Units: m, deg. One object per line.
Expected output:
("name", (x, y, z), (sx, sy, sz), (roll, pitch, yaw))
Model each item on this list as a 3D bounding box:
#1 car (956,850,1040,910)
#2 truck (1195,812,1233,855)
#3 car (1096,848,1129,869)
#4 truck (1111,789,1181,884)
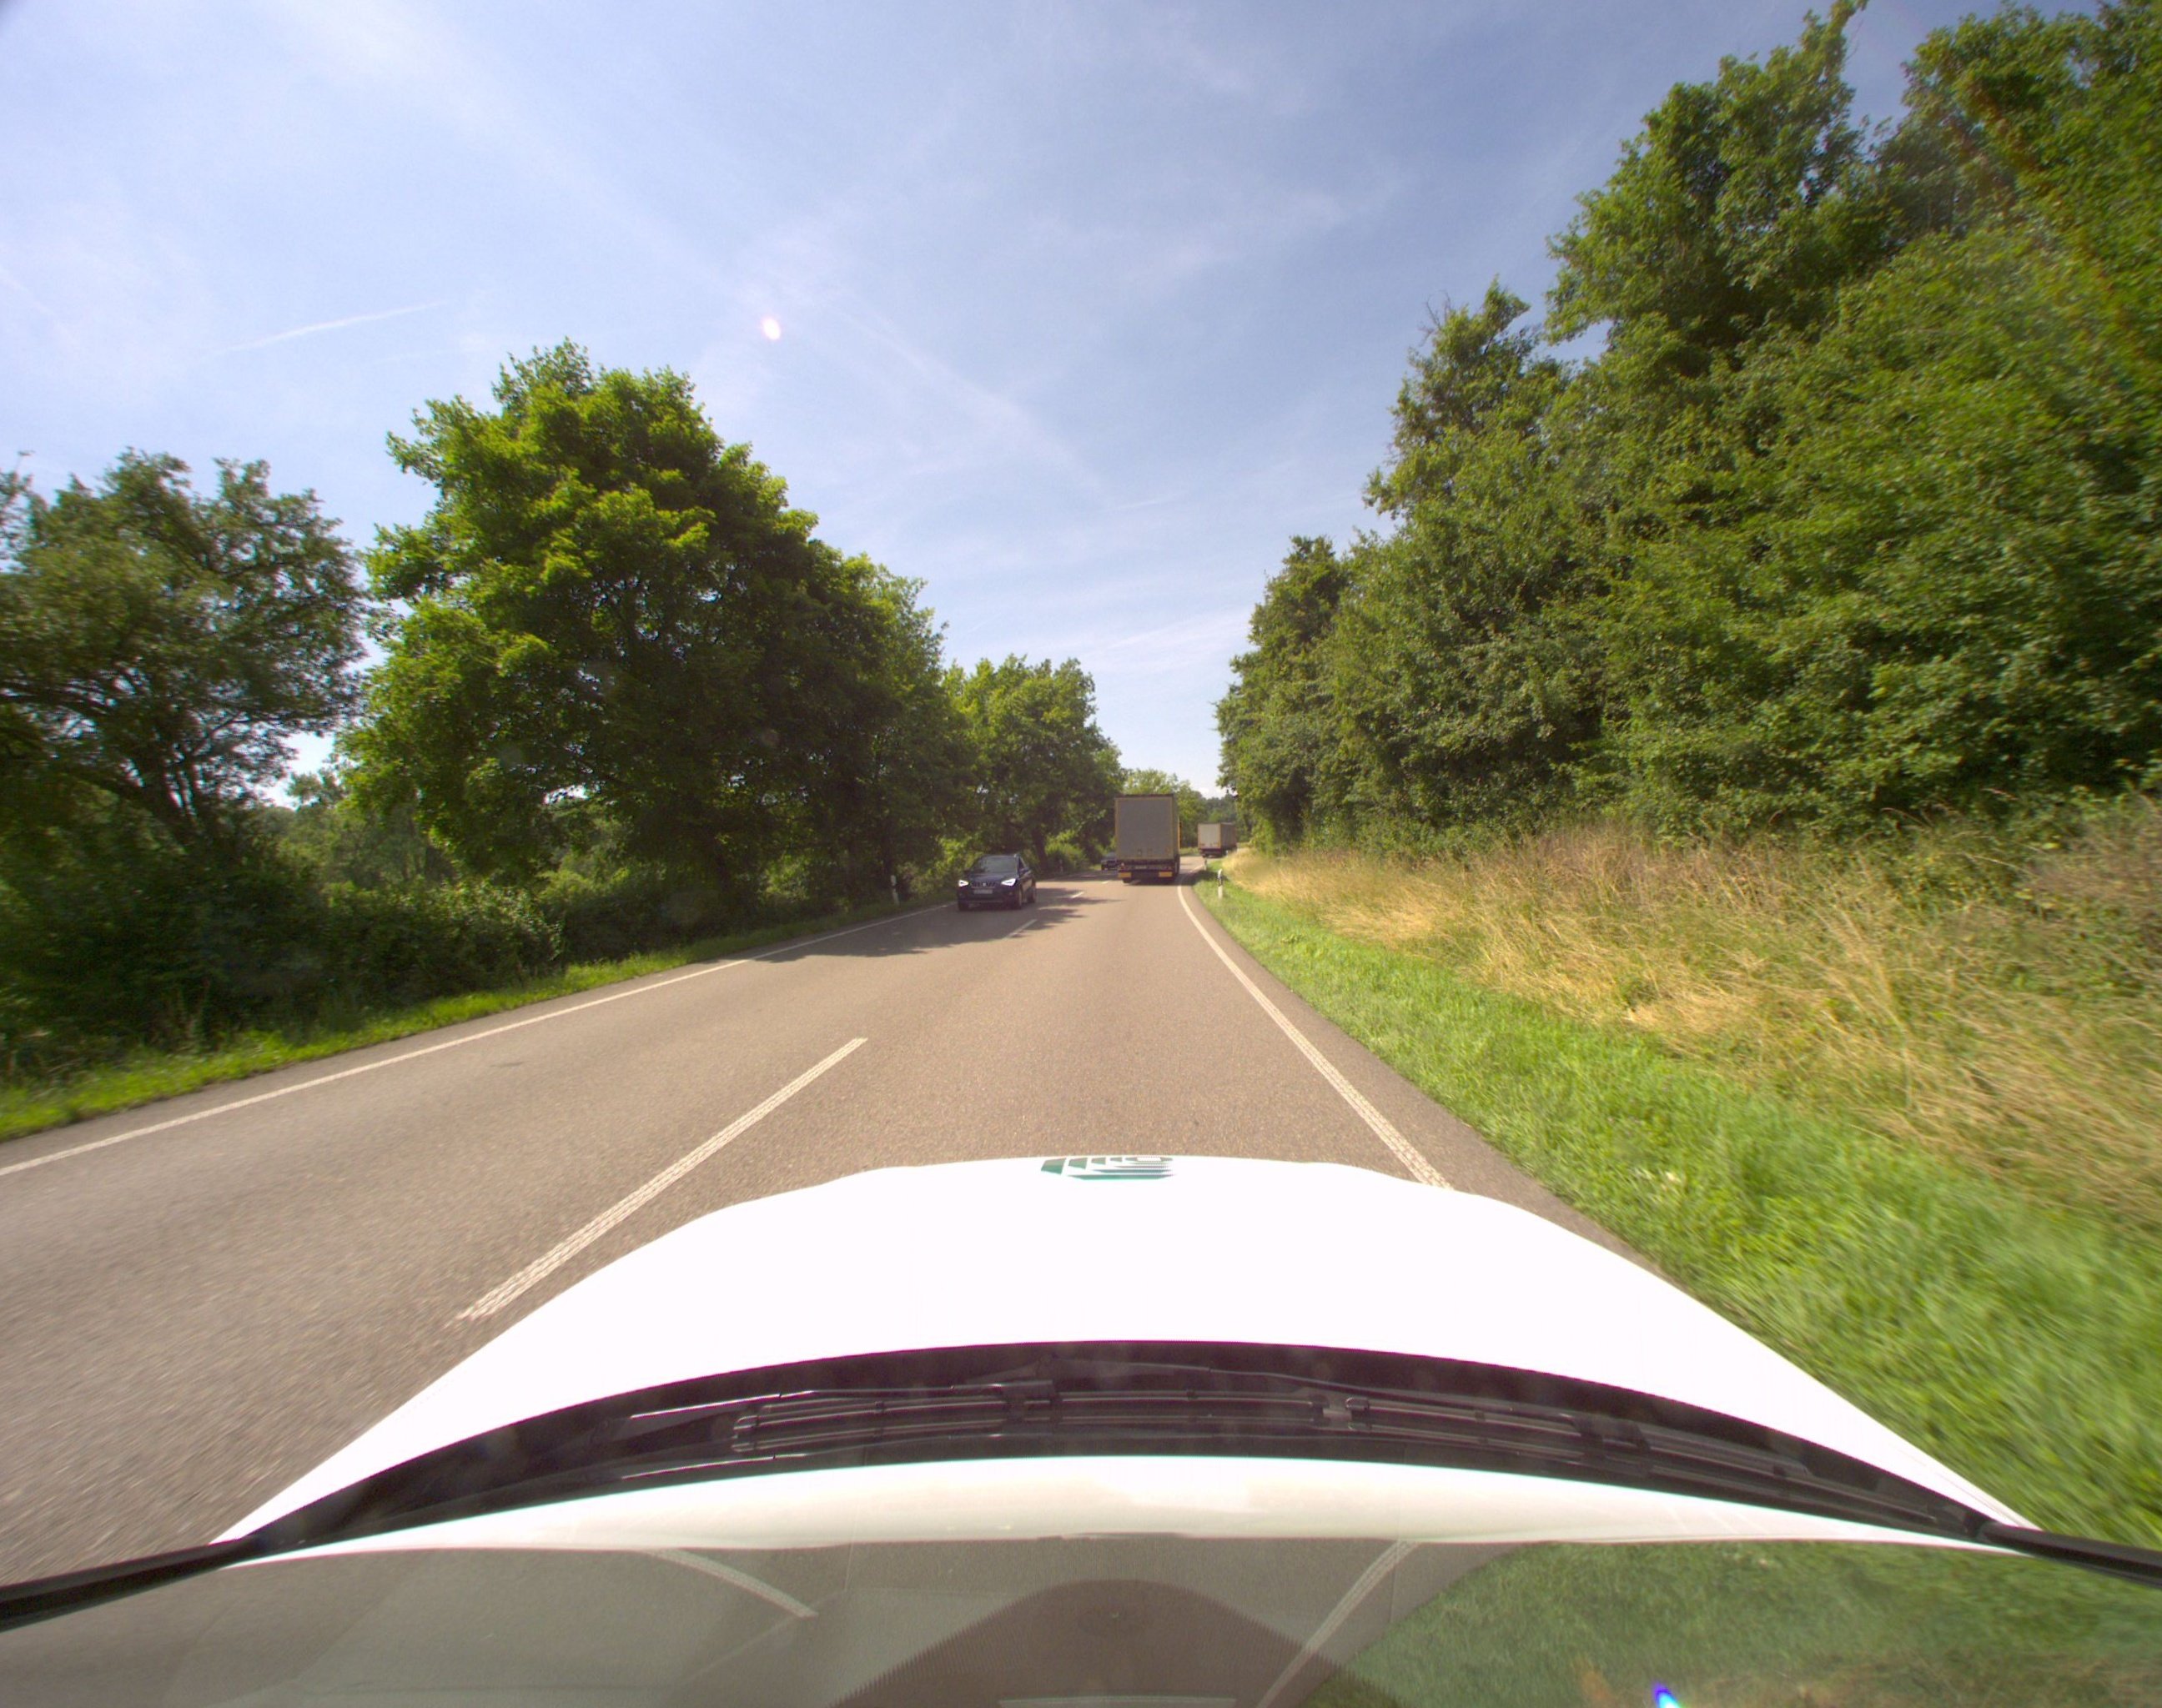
("car", (-2.311, 0.686, 23.644), (1.662, 1.531, 3.964), (-2, 0, 5))
("truck", (16.252, -2.499, 98.594), (3.083, 4.705, 16.653), (-2, 1, 14))
("car", (2.417, 0.320, 61.430), (1.747, 1.432, 4.283), (-1, 0, 11))
("truck", (3.715, -0.885, 42.727), (2.786, 4.068, 15.359), (-1, 1, 8))
